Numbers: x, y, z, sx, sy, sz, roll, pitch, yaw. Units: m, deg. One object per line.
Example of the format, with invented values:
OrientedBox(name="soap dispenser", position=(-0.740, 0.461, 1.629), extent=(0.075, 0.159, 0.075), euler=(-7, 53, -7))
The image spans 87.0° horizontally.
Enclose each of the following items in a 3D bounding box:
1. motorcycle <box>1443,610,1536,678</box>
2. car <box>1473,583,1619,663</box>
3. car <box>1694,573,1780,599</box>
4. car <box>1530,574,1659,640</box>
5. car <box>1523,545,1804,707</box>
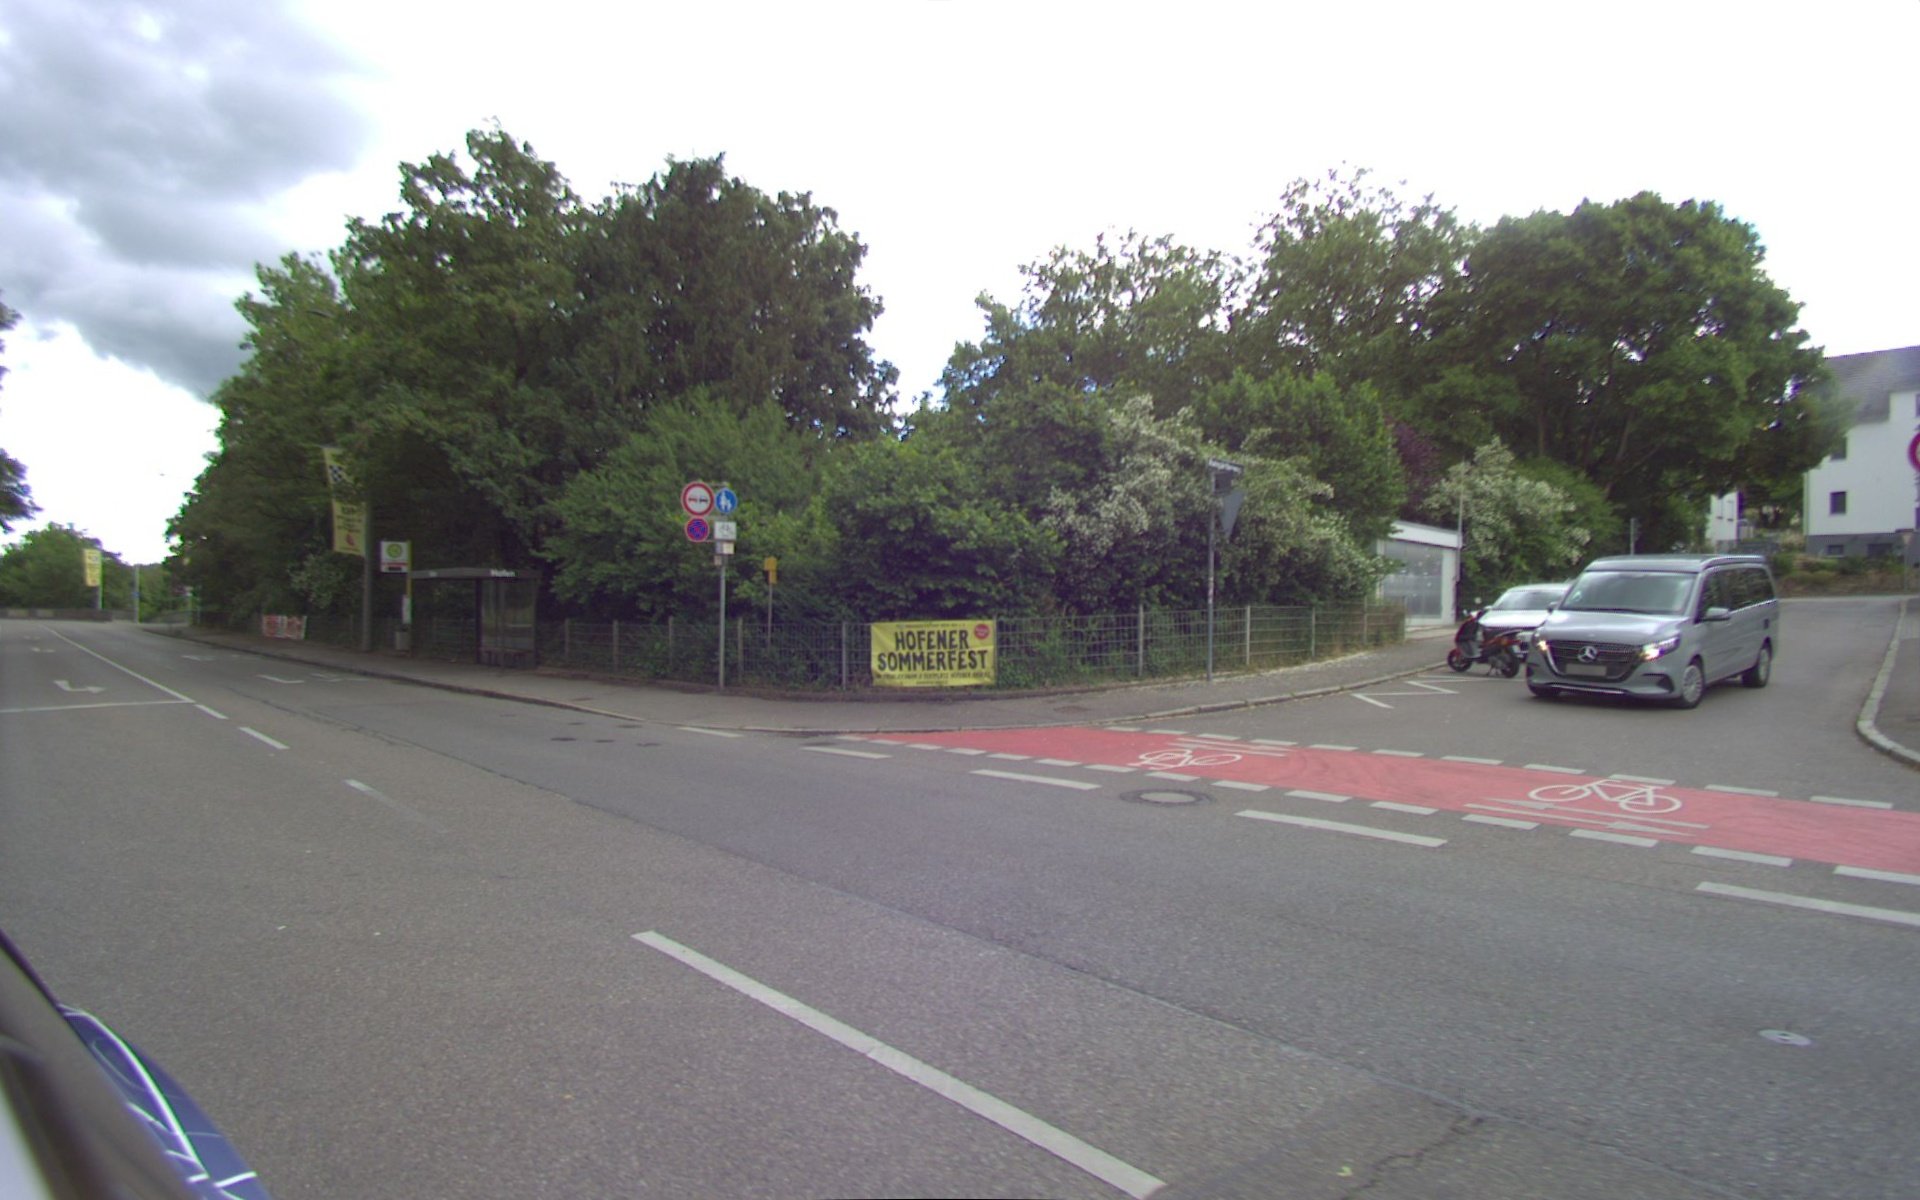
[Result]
OrientedBox(name="motorcycle", position=(8.950, 0.720, 17.174), extent=(0.453, 1.076, 1.652), euler=(-1, 0, -10))
OrientedBox(name="car", position=(11.838, 0.405, 20.332), extent=(1.605, 1.453, 3.852), euler=(-2, 0, 45))
OrientedBox(name="car", position=(40.768, -0.732, 53.145), extent=(3.402, 1.266, 1.637), euler=(-2, 0, 44))
OrientedBox(name="car", position=(15.259, 0.150, 24.251), extent=(1.802, 1.453, 3.852), euler=(-2, 0, 45))
OrientedBox(name="car", position=(10.192, 0.275, 14.495), extent=(5.073, 1.942, 1.956), euler=(-2, 0, -39))
